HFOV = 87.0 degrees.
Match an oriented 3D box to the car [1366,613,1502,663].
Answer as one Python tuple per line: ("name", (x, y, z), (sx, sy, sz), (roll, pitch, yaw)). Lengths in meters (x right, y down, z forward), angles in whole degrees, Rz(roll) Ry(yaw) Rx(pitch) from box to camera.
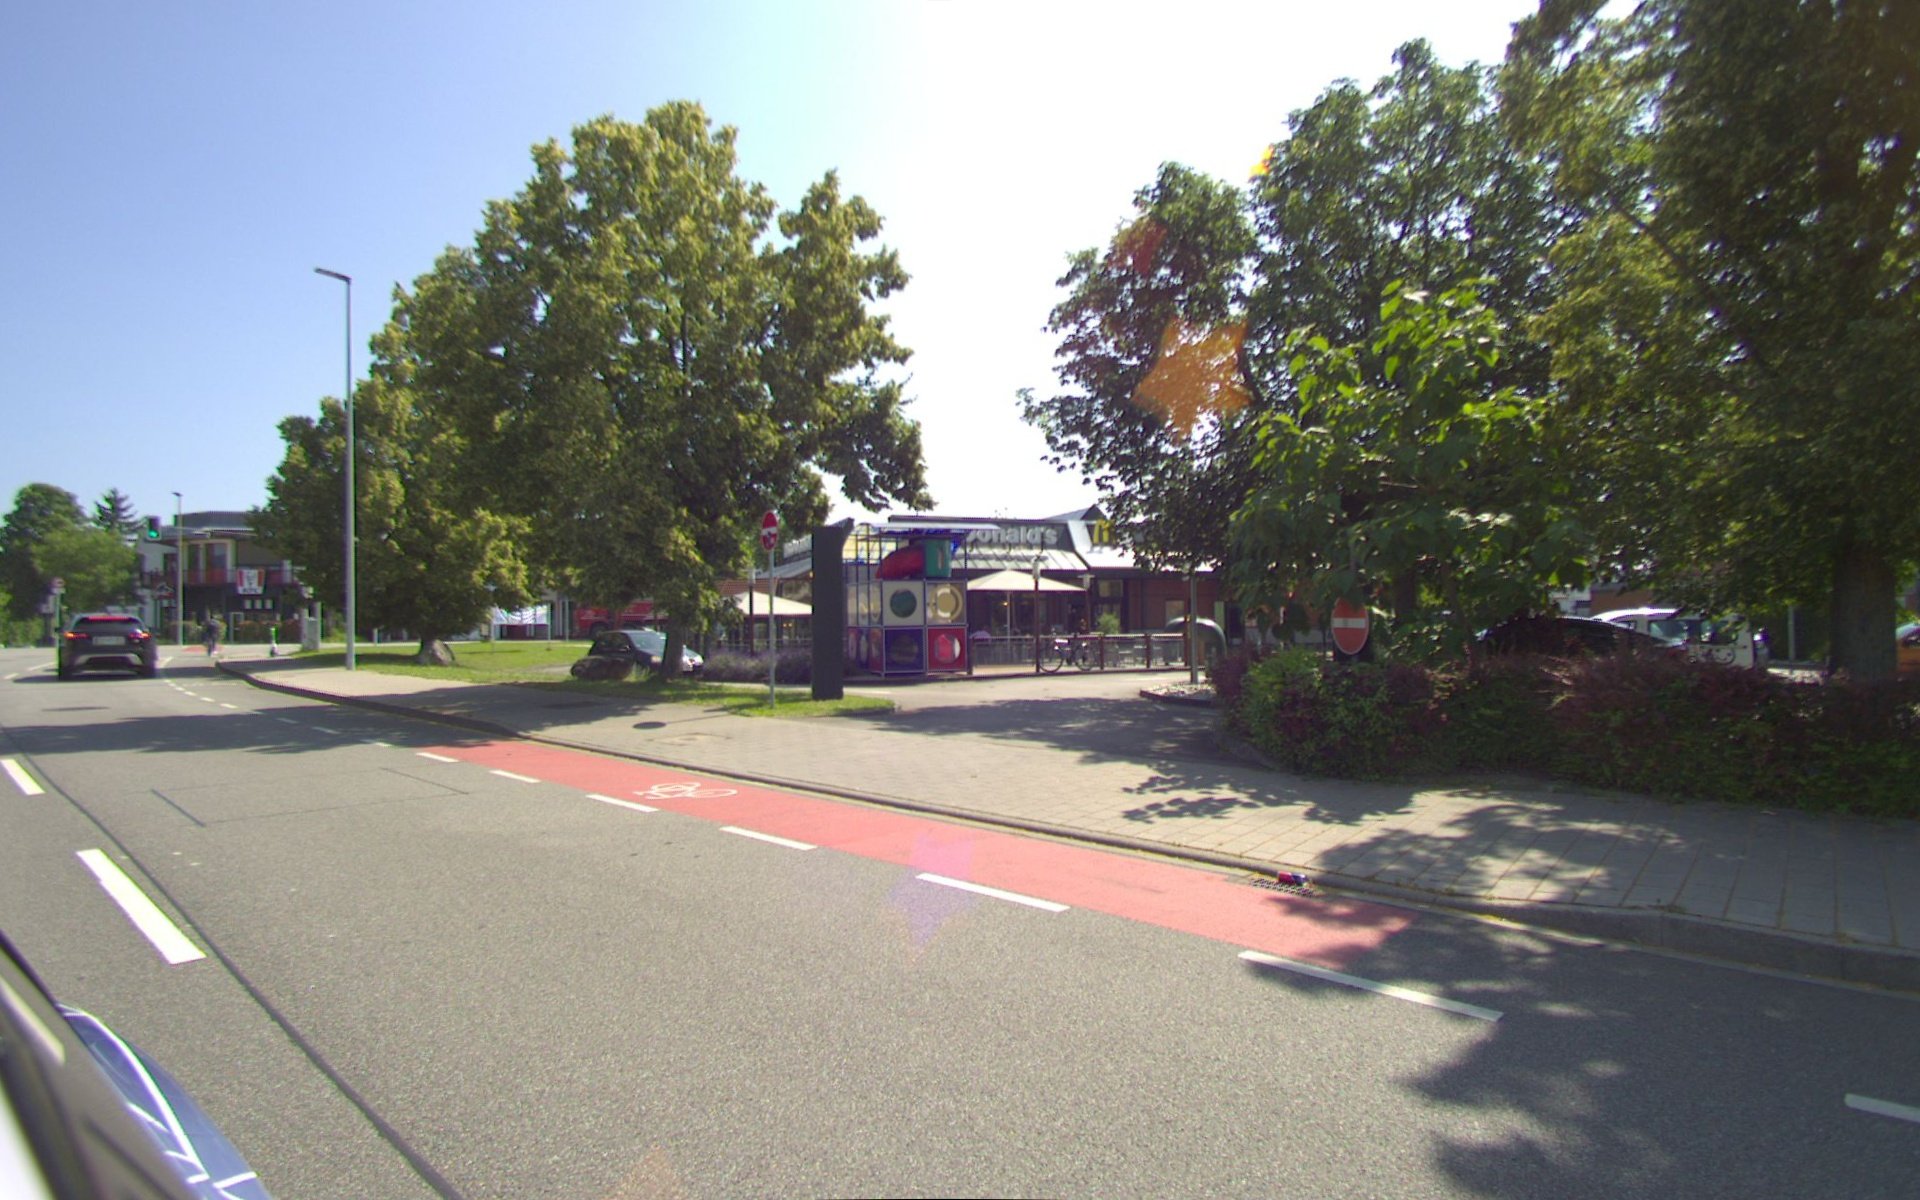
("car", (16.994, 1.363, 36.379), (4.328, 1.697, 1.758), (-1, -2, 28))

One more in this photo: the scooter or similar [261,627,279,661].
("scooter or similar", (-24.726, 1.564, 36.264), (0.465, 1.193, 1.368), (1, -2, -37))

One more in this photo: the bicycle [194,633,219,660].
("bicycle", (-31.357, 1.939, 42.134), (0.687, 1.113, 1.760), (3, -3, -33))

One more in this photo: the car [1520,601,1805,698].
("car", (13.559, 0.953, 19.844), (4.216, 1.748, 1.707), (-1, -2, 20))

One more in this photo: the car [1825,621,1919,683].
("car", (22.420, 1.188, 23.400), (3.328, 1.386, 1.576), (-1, -2, 27))

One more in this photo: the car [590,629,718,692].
("car", (-8.289, 1.569, 27.215), (1.836, 1.564, 4.195), (1, -2, -40))

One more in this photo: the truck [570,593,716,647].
("truck", (-20.957, 1.300, 66.932), (9.009, 3.412, 3.325), (0, -2, -22))

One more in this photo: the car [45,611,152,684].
("car", (-22.178, 1.196, 26.097), (1.926, 1.708, 4.620), (1, -2, -41))

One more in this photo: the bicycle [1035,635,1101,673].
("bicycle", (2.949, 1.472, 27.570), (1.826, 1.000, 0.309), (0, -2, -19))

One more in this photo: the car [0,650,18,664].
("car", (-112.504, 6.702, 119.632), (1.648, 1.544, 4.004), (1, -2, -43))

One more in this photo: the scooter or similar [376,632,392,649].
("scooter or similar", (-38.356, 2.699, 67.395), (0.492, 1.132, 1.508), (0, -2, -13))

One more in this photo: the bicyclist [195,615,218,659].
("bicyclist", (-31.341, 1.519, 42.099), (0.700, 1.802, 0.811), (1, -2, -32))
